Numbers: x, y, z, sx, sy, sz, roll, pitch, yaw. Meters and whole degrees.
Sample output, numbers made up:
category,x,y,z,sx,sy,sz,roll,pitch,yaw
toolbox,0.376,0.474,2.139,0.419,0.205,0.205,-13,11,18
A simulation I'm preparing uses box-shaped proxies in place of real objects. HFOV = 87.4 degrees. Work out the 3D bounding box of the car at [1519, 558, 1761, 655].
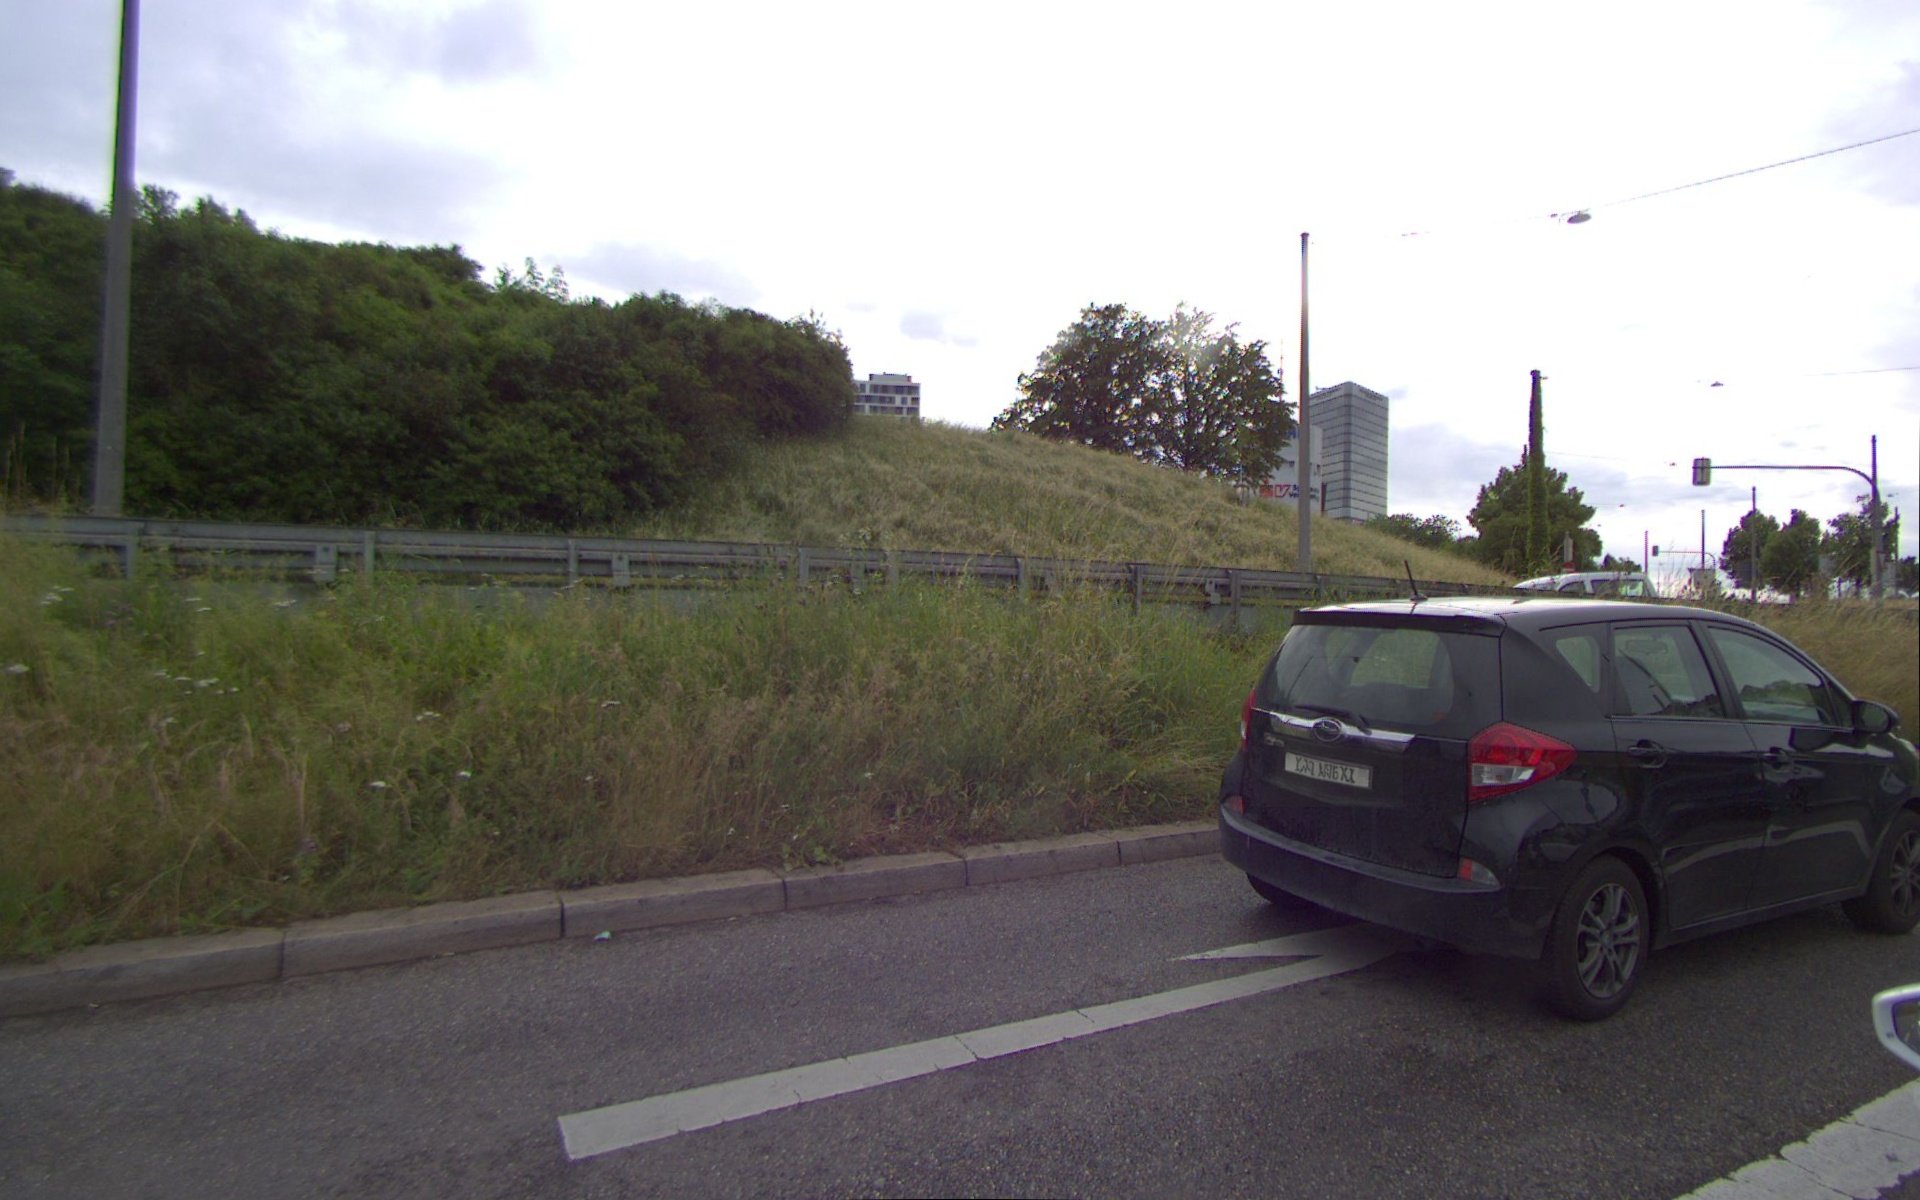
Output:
category,x,y,z,sx,sy,sz,roll,pitch,yaw
car,14.943,0.174,22.132,4.620,1.874,1.816,3,-1,-15

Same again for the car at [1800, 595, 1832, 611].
category,x,y,z,sx,sy,sz,roll,pitch,yaw
car,95.598,0.345,112.267,1.965,1.659,4.410,4,2,31

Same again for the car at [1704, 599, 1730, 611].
category,x,y,z,sx,sy,sz,roll,pitch,yaw
car,106.982,0.761,141.935,1.962,1.497,4.500,2,-1,25

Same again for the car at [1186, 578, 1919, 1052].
category,x,y,z,sx,sy,sz,roll,pitch,yaw
car,3.122,0.745,4.914,3.731,1.525,1.635,2,2,-28

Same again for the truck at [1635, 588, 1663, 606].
category,x,y,z,sx,sy,sz,roll,pitch,yaw
truck,134.392,-0.606,196.022,3.205,3.116,6.173,4,2,22

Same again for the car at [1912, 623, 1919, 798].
category,x,y,z,sx,sy,sz,roll,pitch,yaw
car,10.273,0.971,8.605,4.058,1.479,1.698,1,-1,-25
